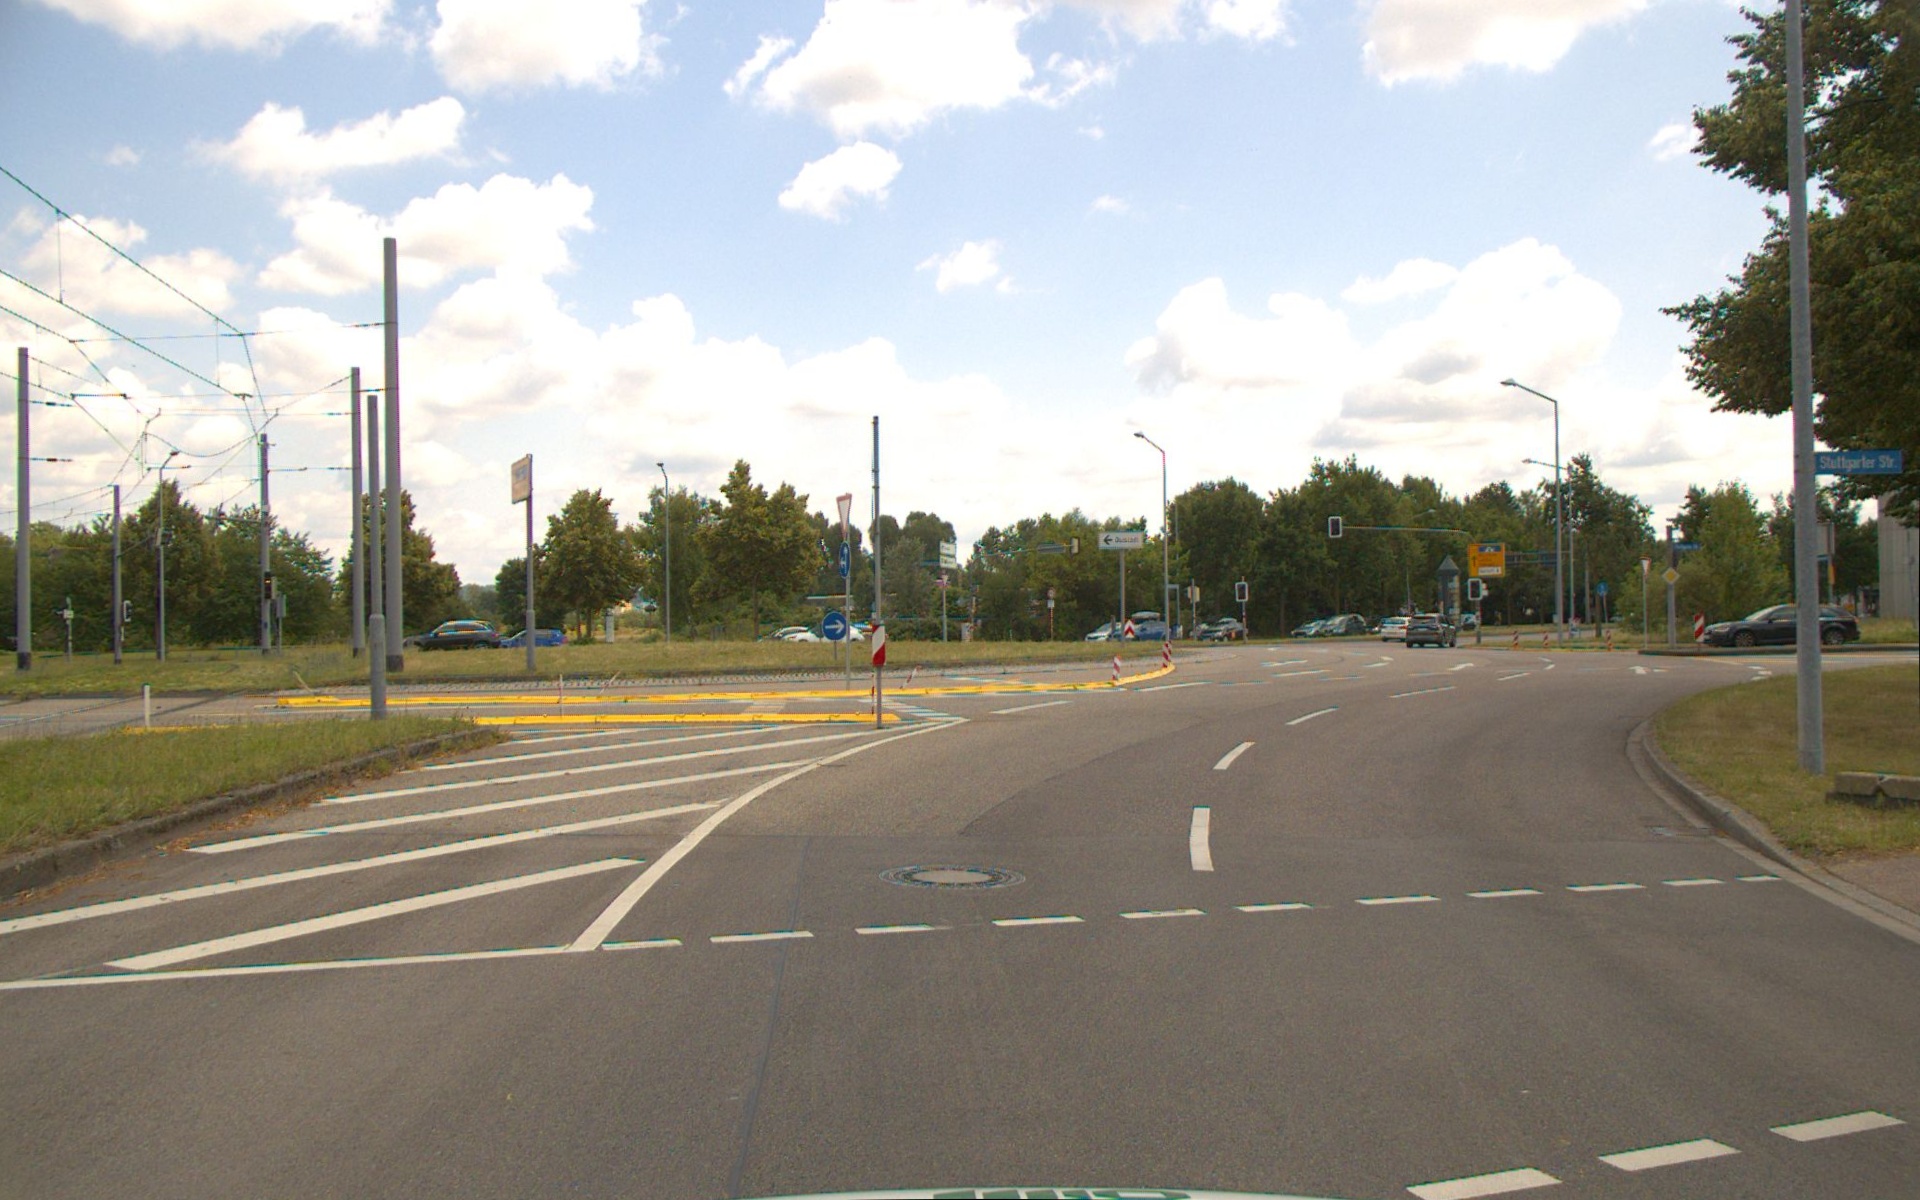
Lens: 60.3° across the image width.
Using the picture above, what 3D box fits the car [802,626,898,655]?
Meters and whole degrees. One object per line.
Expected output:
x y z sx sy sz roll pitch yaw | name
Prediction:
-5.551 2.023 83.520 4.427 1.346 1.935 -1 0 -29 | car

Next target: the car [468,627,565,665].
-22.207 2.299 82.766 4.635 1.822 1.840 1 1 -17 | car

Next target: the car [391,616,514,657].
-22.368 1.588 72.932 4.988 1.704 1.985 -1 0 -24 | car

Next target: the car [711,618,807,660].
-10.322 1.980 84.952 4.634 2.049 1.991 -1 0 -16 | car

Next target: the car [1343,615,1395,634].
30.137 1.796 121.913 1.809 1.333 4.763 -4 -3 39 | car

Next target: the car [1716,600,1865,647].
26.515 0.749 52.909 3.902 1.489 1.690 0 -1 6 | car

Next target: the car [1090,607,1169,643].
9.080 1.303 88.351 4.372 1.830 1.728 -1 0 -43 | car

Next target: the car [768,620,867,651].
-6.733 1.644 77.908 4.243 1.353 1.984 -1 -1 -25 | car

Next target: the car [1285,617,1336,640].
23.796 1.938 112.234 1.872 1.448 4.177 -2 -1 34 | car

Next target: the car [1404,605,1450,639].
23.351 1.114 82.606 1.952 1.654 4.310 0 -1 19 | car

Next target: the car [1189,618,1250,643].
16.058 1.894 102.232 1.772 1.364 3.952 -4 -2 44 | car

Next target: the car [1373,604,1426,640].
25.735 1.262 96.770 1.957 2.049 3.991 -1 -1 31 | car

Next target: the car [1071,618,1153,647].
8.554 1.808 92.762 4.469 1.548 2.092 -1 0 -42 | car
